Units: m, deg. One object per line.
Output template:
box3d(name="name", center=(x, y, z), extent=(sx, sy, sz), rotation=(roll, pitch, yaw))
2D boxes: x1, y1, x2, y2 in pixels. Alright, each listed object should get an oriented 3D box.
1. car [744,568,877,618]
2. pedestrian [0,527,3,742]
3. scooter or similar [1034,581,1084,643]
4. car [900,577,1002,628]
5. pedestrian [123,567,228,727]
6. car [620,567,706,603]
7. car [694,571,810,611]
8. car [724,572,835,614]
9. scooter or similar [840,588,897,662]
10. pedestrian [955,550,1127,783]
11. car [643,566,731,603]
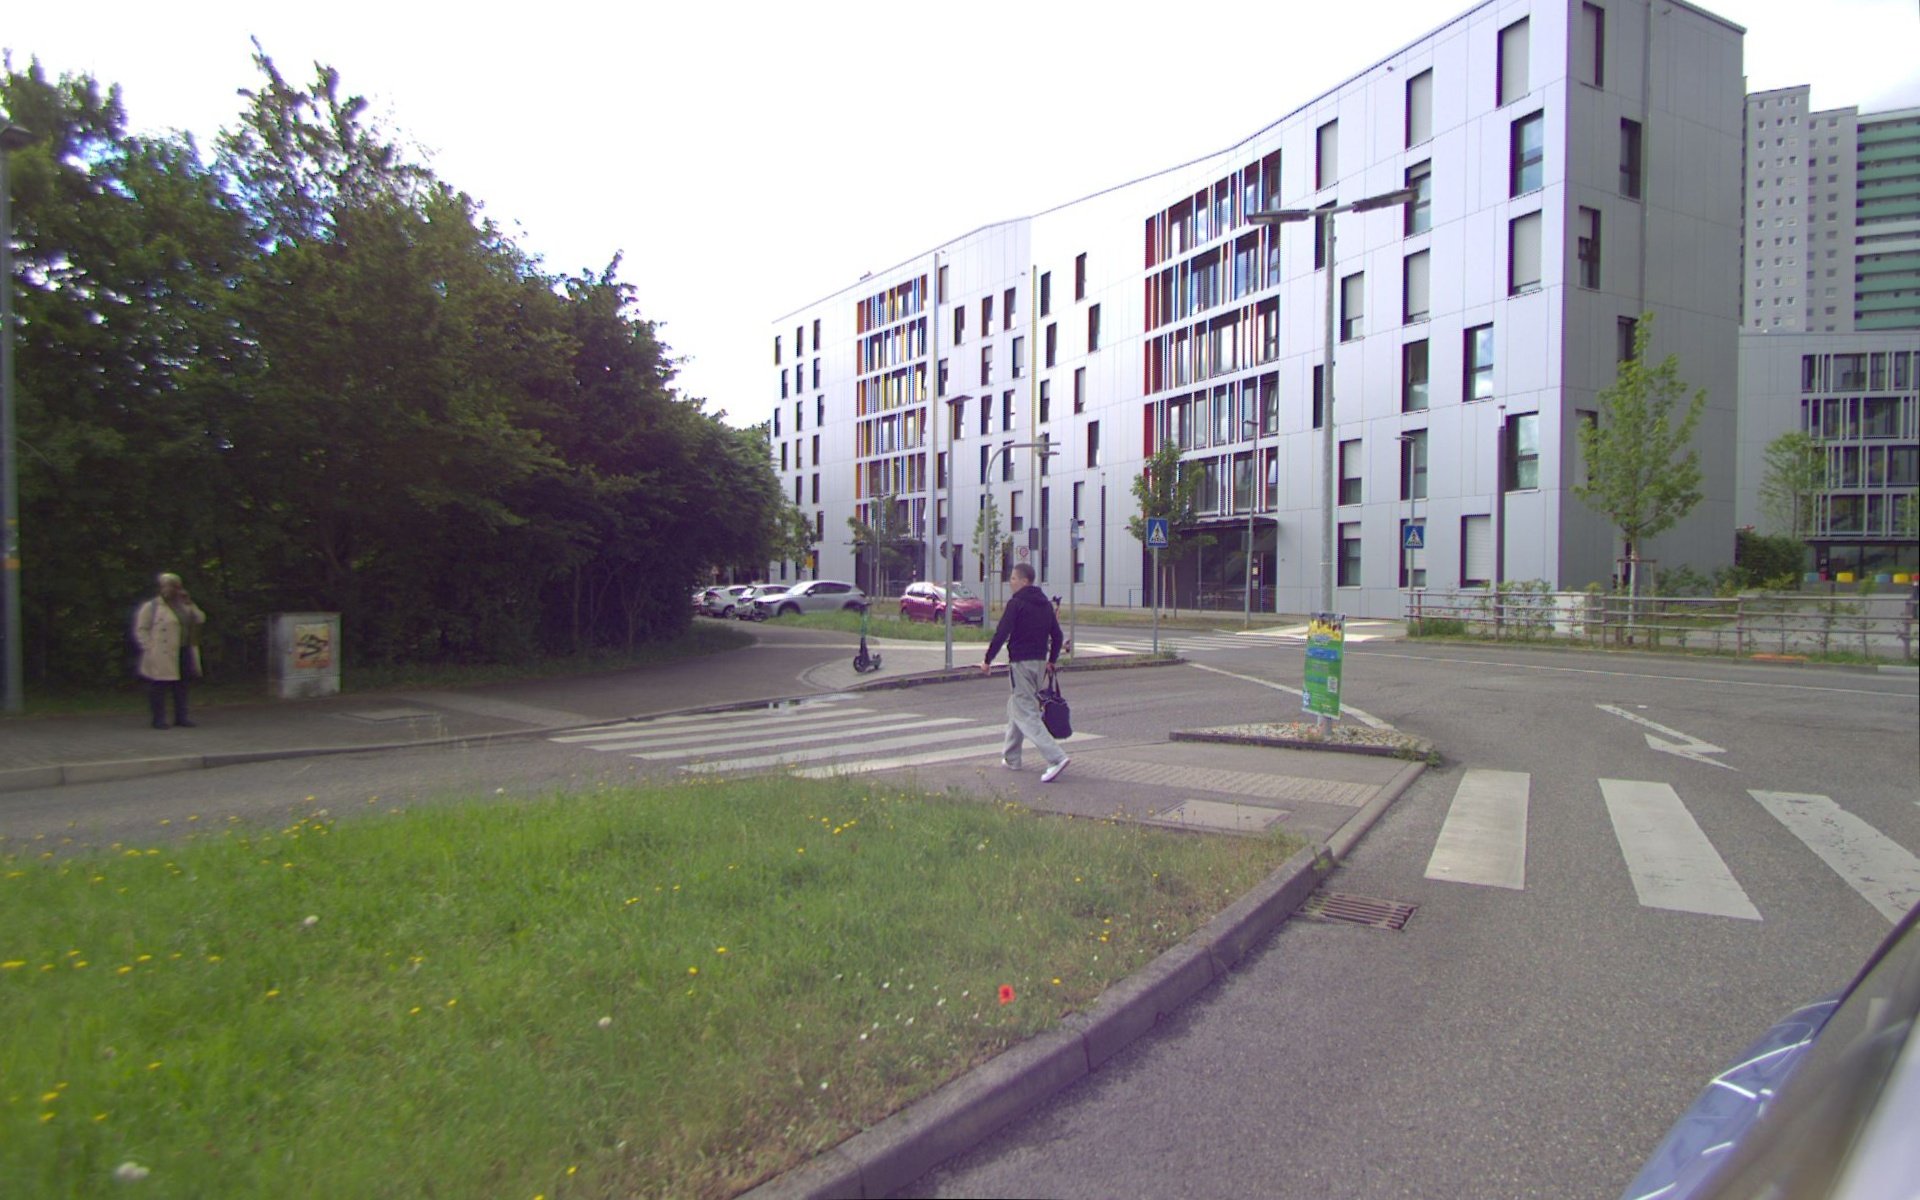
box3d(name="car", center=(-5.734, -0.255, 38.951), extent=(4.573, 1.774, 2.071), rotation=(2, 0, -34))
box3d(name="pedestrian", center=(-8.860, 0.290, 8.549), extent=(0.852, 1.845, 0.972), rotation=(1, 0, 35))
box3d(name="scooter or similar", center=(2.210, 0.246, 22.537), extent=(0.567, 1.329, 1.511), rotation=(0, 1, 28))
box3d(name="car", center=(-0.393, 0.029, 36.915), extent=(1.896, 1.651, 4.248), rotation=(-2, 3, -29))
box3d(name="pedestrian", center=(-8.314, 0.464, 10.730), extent=(0.684, 1.614, 0.760), rotation=(1, 1, 41))
box3d(name="car", center=(-17.302, -0.850, 59.008), extent=(4.474, 1.923, 1.886), rotation=(2, 0, -32))
box3d(name="car", center=(-8.823, -0.363, 43.035), extent=(4.402, 1.582, 1.913), rotation=(1, 0, -32))
box3d(name="car", center=(-7.296, -0.282, 41.013), extent=(4.086, 1.606, 1.797), rotation=(0, 1, -32))
box3d(name="scooter or similar", center=(-1.713, 0.450, 19.106), extent=(0.612, 1.290, 1.490), rotation=(0, 2, 14))
box3d(name="pedestrian", center=(0.665, 0.485, 8.366), extent=(0.941, 1.769, 1.060), rotation=(-1, 1, -43))
box3d(name="car", center=(-14.656, -0.817, 54.295), extent=(4.209, 1.916, 1.839), rotation=(0, 1, -32))
